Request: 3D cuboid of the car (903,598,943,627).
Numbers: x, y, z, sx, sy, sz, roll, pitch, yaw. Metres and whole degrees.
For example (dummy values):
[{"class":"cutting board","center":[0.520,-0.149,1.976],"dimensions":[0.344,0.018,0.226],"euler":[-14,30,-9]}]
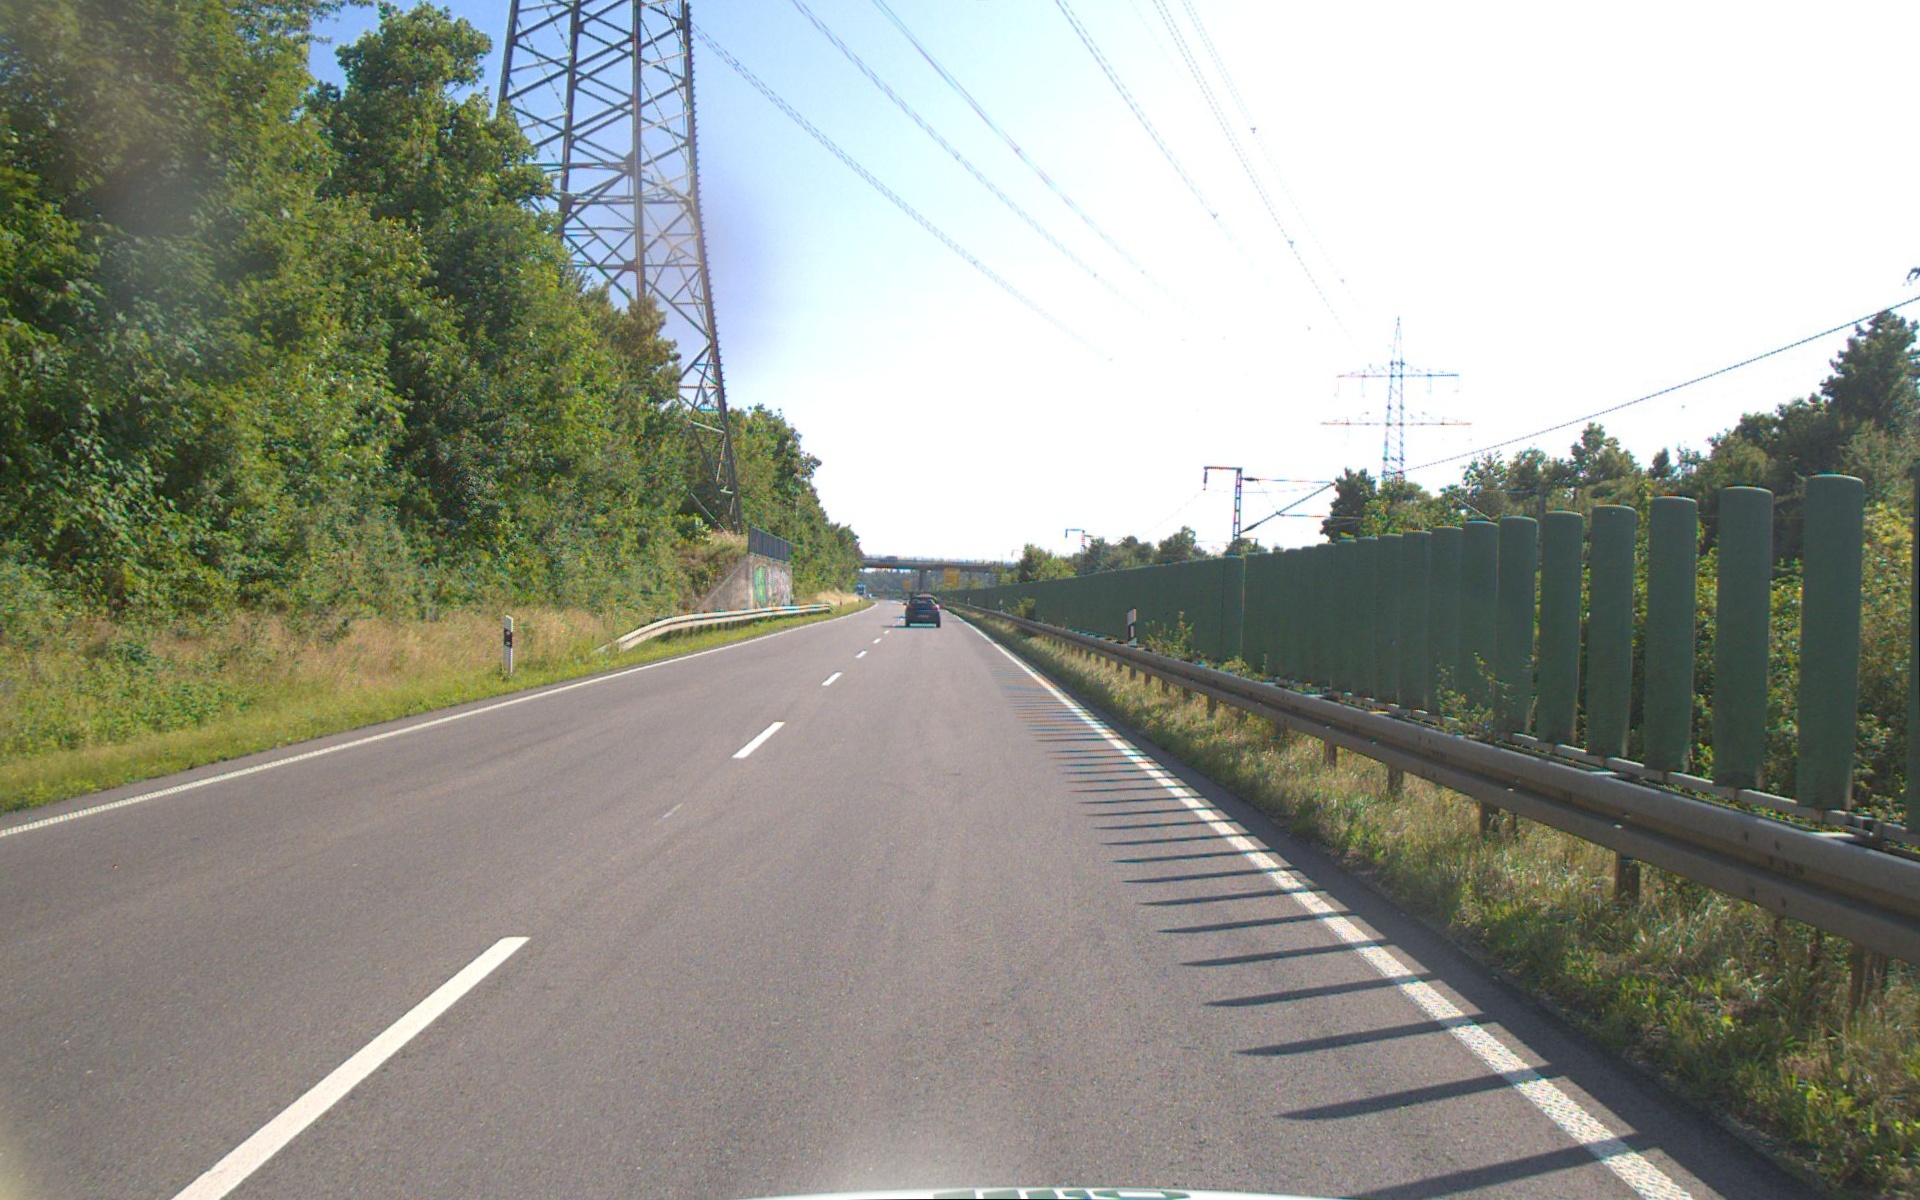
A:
[{"class":"car","center":[-1.724,0.566,75.887],"dimensions":[1.630,1.283,3.997],"euler":[1,0,-4]}]
